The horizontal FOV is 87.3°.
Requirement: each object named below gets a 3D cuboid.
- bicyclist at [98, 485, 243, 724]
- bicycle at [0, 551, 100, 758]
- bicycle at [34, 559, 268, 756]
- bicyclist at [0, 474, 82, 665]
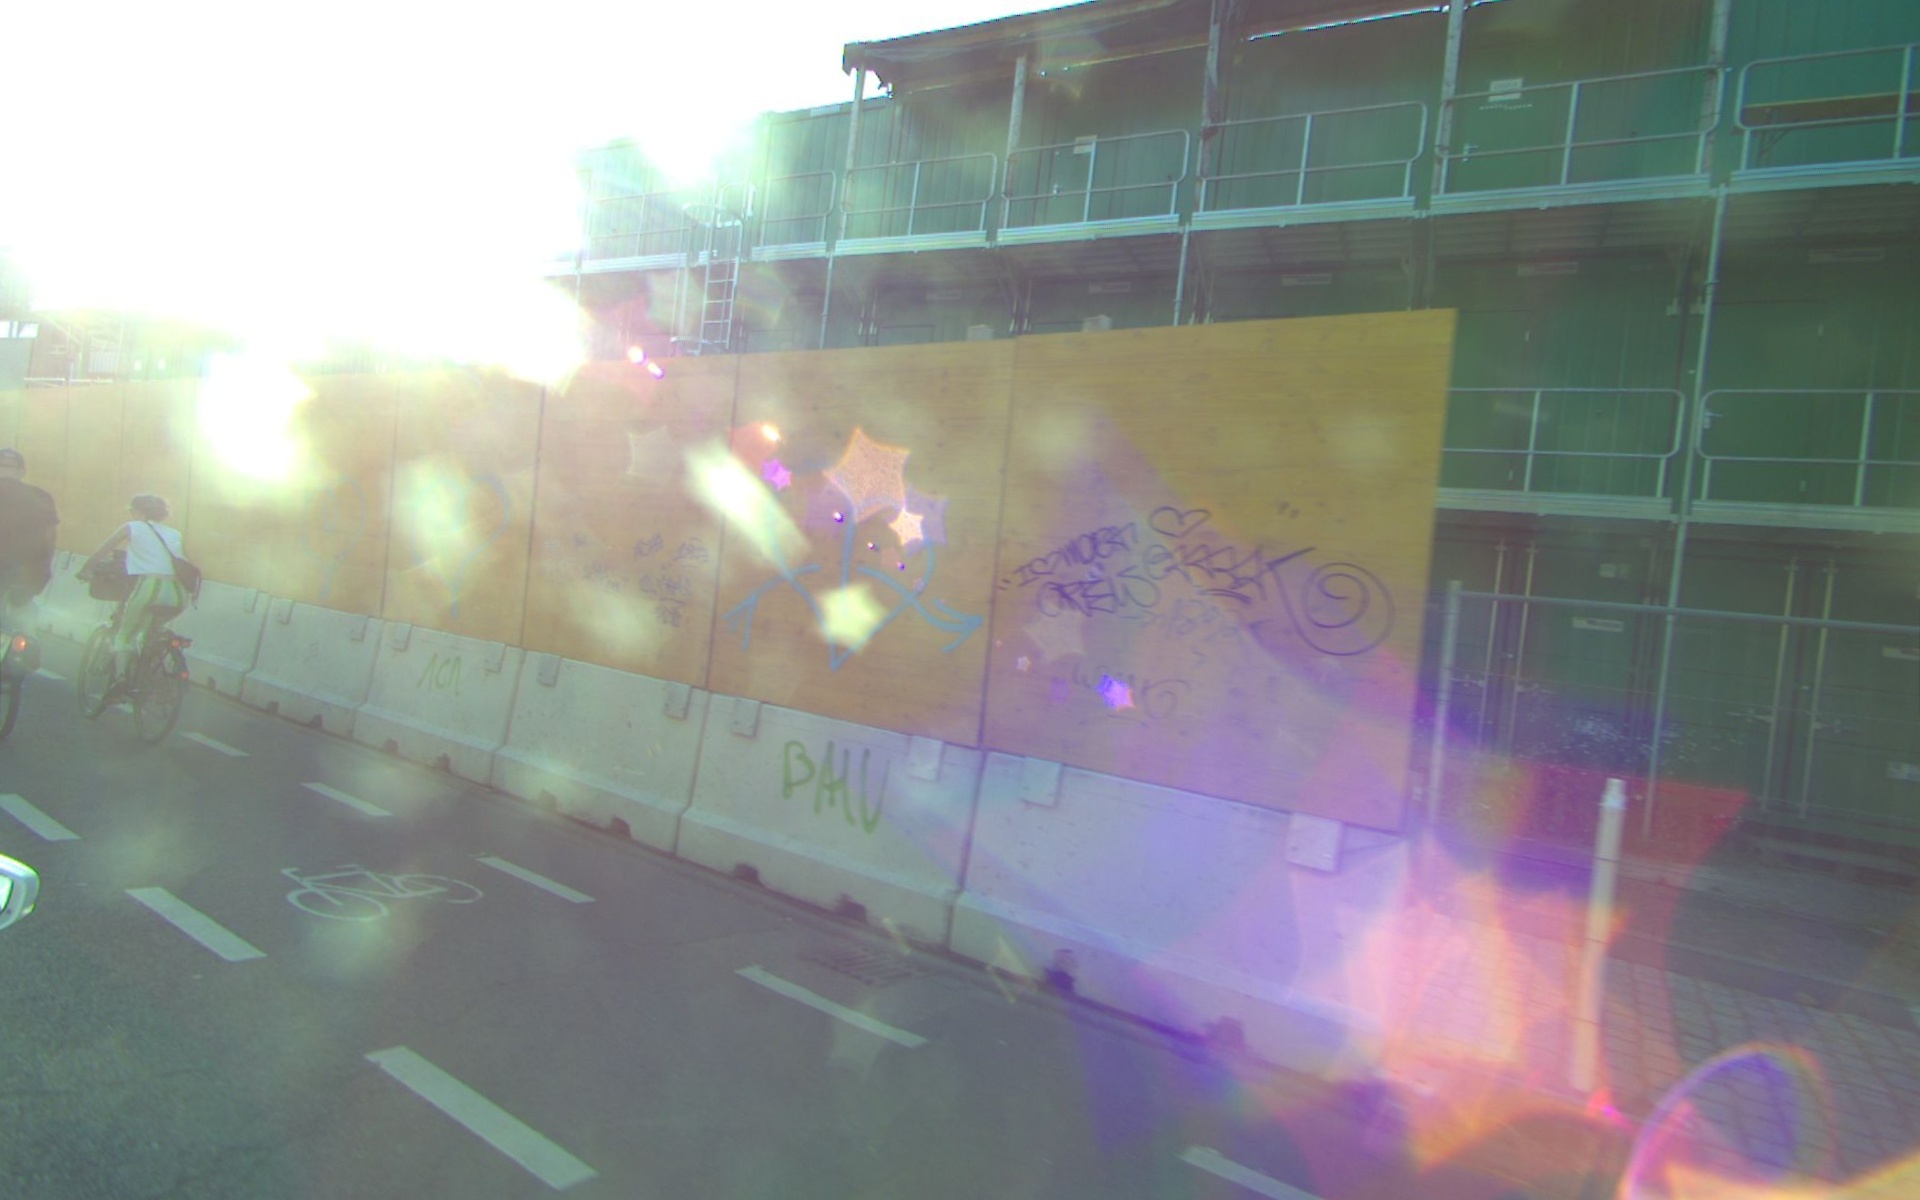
[{"bbox_3d":[-5.735,0.031,7.316,0.567,1.633,0.556,7,1,31],"label":"bicyclist"},{"bbox_3d":[-6.646,0.284,6.808,2.241,1.168,0.667,7,-1,36],"label":"bicycle"},{"bbox_3d":[-6.081,0.377,7.510,2.238,1.141,0.558,7,1,31],"label":"bicycle"},{"bbox_3d":[-6.406,-0.210,6.729,0.348,1.253,0.652,7,1,31],"label":"bicyclist"}]
